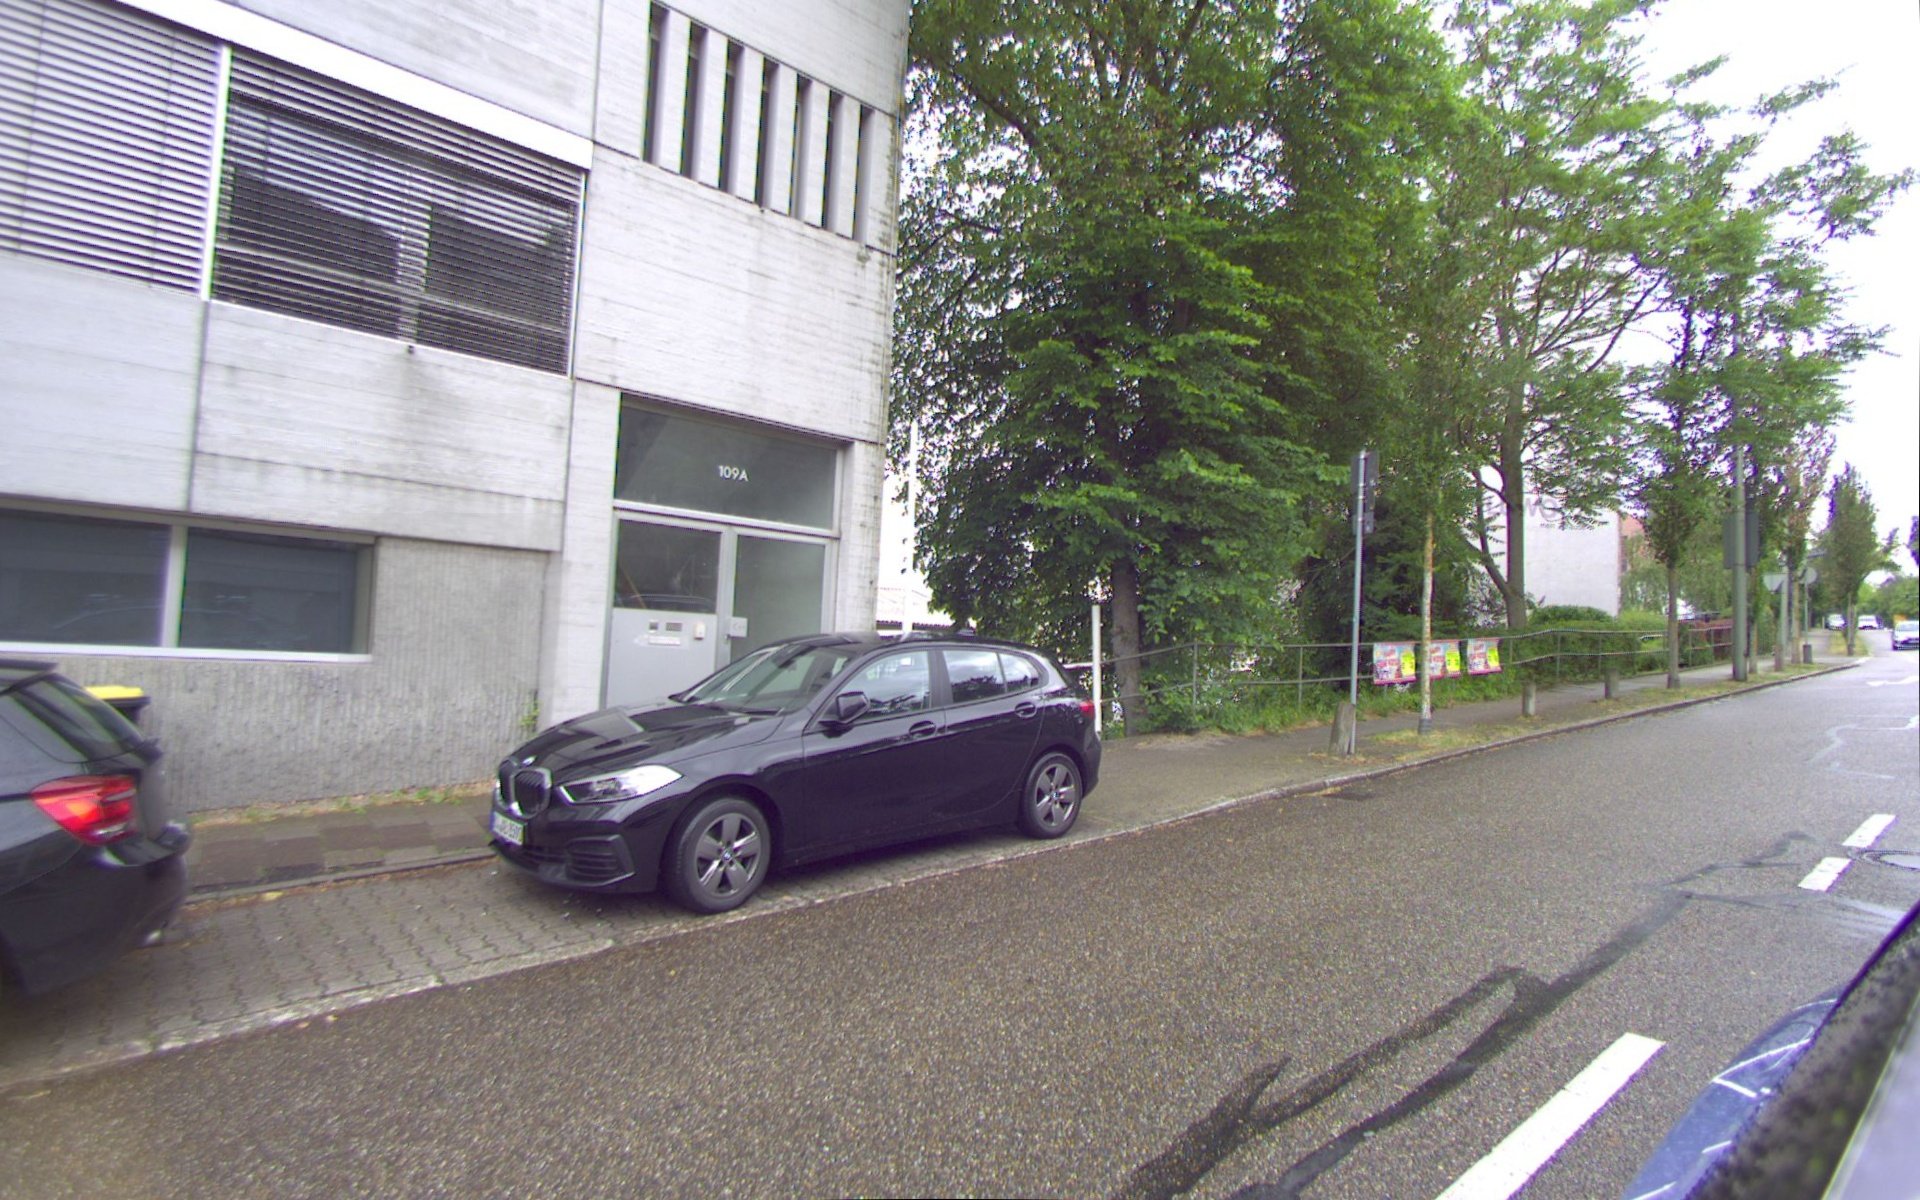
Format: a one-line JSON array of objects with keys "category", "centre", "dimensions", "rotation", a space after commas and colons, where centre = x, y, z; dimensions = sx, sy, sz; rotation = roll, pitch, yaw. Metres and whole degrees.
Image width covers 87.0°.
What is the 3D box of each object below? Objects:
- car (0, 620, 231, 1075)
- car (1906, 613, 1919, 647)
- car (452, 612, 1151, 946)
[{"category": "car", "centre": [-4.898, 0.843, 3.175], "dimensions": [4.173, 1.466, 1.753], "rotation": [0, 0, -38]}, {"category": "car", "centre": [52.613, 1.620, 54.763], "dimensions": [1.888, 1.741, 4.169], "rotation": [2, 2, 45]}, {"category": "car", "centre": [-0.833, 0.861, 6.935], "dimensions": [4.367, 1.453, 1.996], "rotation": [0, 1, -43]}]
